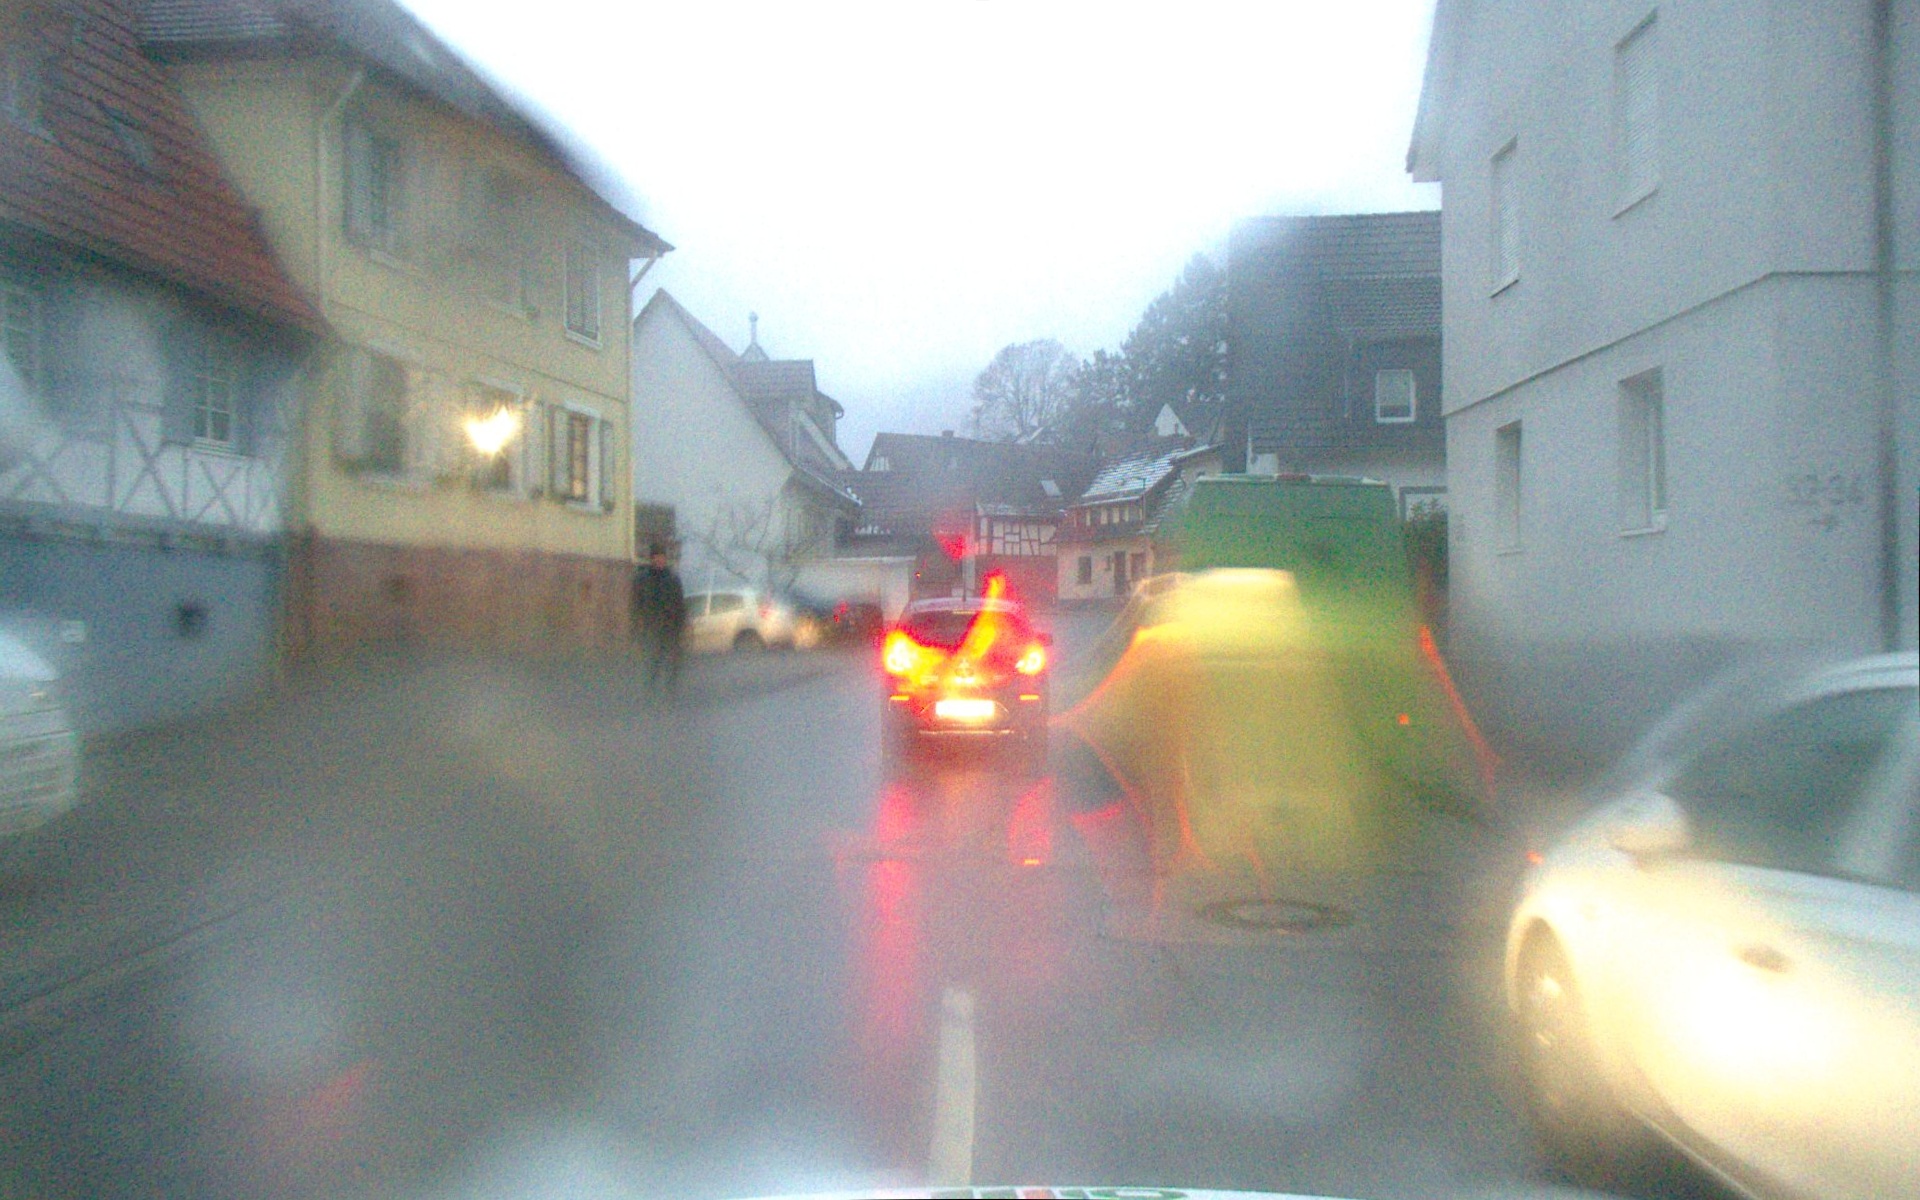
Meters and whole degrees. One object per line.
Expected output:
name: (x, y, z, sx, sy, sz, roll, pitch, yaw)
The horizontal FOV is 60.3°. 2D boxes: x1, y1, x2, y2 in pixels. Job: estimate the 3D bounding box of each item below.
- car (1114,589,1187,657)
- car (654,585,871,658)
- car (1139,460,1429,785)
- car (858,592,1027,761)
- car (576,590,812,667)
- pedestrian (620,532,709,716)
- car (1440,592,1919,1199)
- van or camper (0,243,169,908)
car: (4.513, 0.502, 38.920, 1.603, 1.497, 4.003, 1, 0, 8)
car: (-4.437, 0.476, 37.488, 4.495, 1.496, 2.002, -1, 0, 7)
car: (2.805, 0.152, 15.619, 1.967, 2.497, 5.618, 0, 0, 4)
car: (-0.094, 0.672, 16.635, 1.514, 1.491, 3.700, 0, 0, 2)
car: (-5.568, 0.591, 34.807, 4.504, 1.496, 1.893, -1, 0, 11)
pedestrian: (-3.370, 0.271, 18.940, 0.767, 2.049, 0.870, 1, -1, 5)
car: (2.497, 0.747, 3.673, 1.610, 1.503, 4.371, 0, 0, 0)
van or camper: (-7.262, 0.019, 7.722, 5.931, 2.993, 2.325, -3, 0, 4)
